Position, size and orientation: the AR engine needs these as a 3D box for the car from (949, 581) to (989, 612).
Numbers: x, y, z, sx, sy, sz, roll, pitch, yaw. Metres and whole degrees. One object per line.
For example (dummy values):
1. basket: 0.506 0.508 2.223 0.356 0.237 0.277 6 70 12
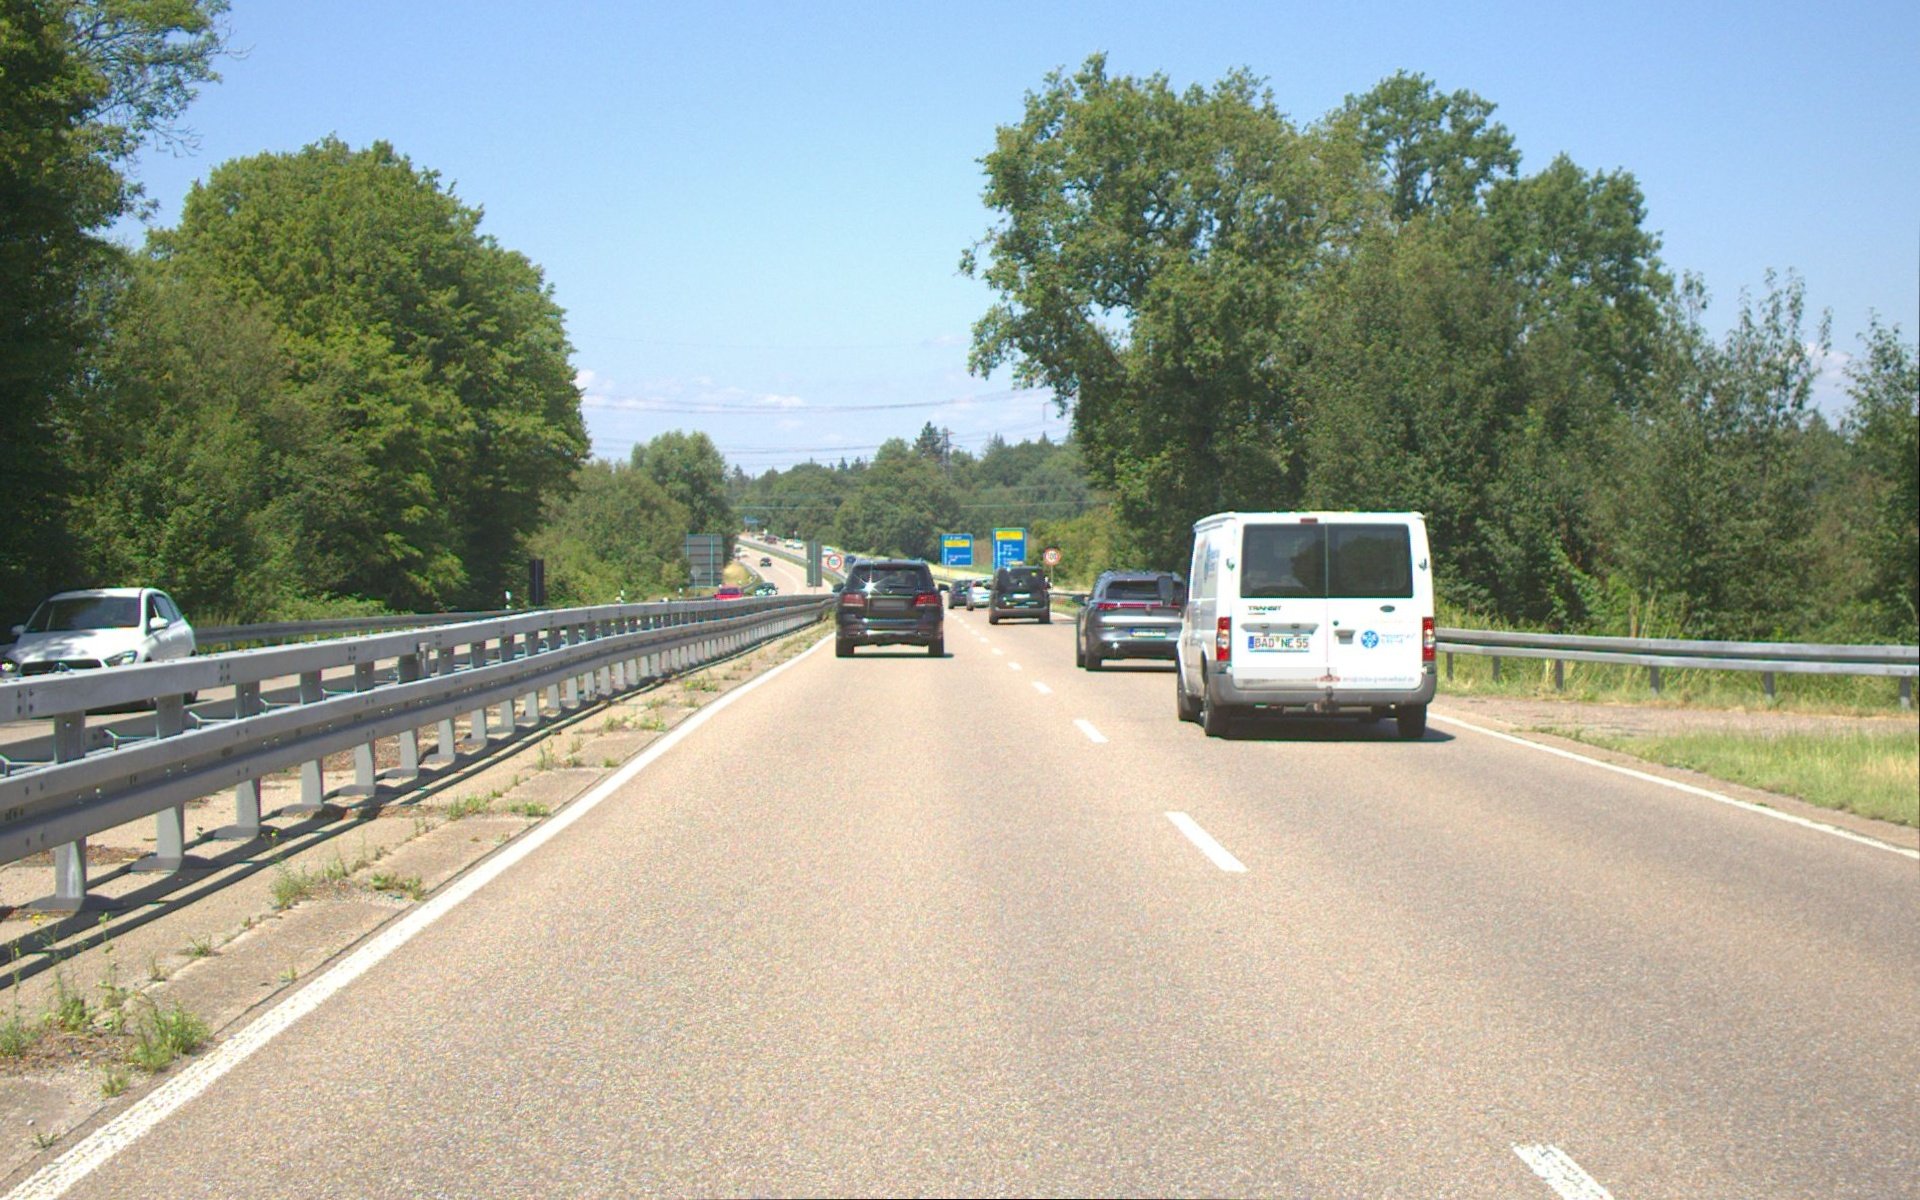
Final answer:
1. car: 0.422 -0.196 169.367 1.819 1.409 4.000 -2 1 -2

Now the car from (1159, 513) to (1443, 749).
1. car: 3.024 0.271 31.507 2.005 1.982 5.034 0 0 -1

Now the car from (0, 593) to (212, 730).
1. car: -11.032 0.748 44.176 1.818 1.593 4.841 -2 0 -1

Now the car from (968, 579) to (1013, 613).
1. car: 1.357 -0.179 154.309 1.779 1.474 4.316 0 0 -3

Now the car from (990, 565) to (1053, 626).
1. car: 1.896 -0.166 106.802 1.779 1.810 4.213 -1 1 -1

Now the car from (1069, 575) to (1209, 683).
1. car: 2.706 0.410 52.646 1.785 1.548 4.019 0 1 -2

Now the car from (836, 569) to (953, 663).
1. car: -1.218 0.261 61.985 1.993 1.649 4.000 0 0 -3

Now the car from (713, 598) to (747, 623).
1. car: -13.753 0.639 205.935 1.776 1.414 4.575 -1 0 -1
